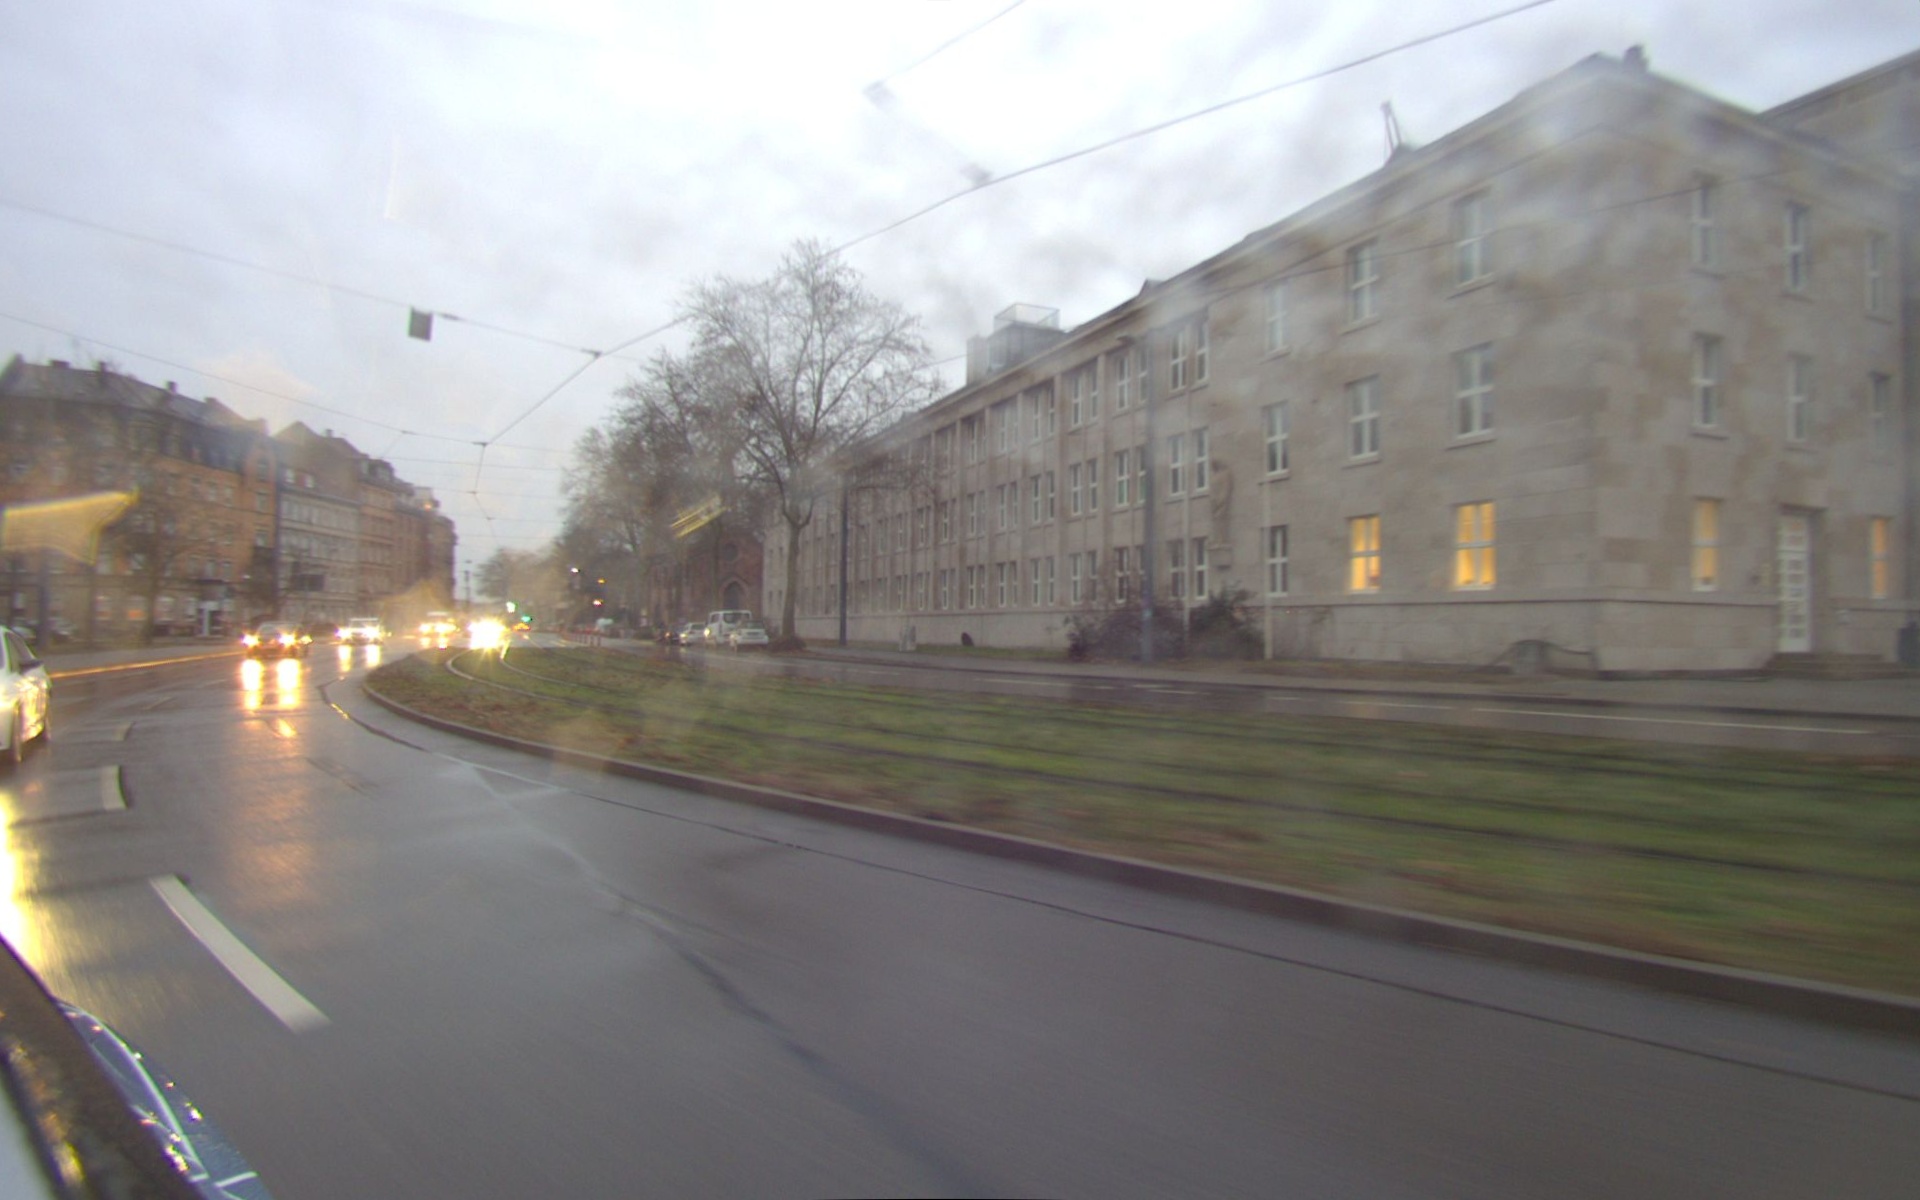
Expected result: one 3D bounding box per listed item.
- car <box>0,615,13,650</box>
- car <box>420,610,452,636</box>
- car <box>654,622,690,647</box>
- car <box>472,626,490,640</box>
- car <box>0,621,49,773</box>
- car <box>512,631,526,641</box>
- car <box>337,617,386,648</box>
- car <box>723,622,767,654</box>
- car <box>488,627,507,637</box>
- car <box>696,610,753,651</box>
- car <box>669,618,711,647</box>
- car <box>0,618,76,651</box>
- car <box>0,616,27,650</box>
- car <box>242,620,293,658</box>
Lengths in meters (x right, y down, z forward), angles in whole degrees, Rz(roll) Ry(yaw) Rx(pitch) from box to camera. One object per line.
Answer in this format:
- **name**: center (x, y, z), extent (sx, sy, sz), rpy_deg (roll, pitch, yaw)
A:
- **car**: center (-37.494, 1.190, 37.147), extent (1.598, 1.288, 3.721), rpy_deg (-1, -2, 35)
- **car**: center (-49.648, 2.140, 95.958), extent (2.094, 2.398, 5.656), rpy_deg (-1, 0, -21)
- **car**: center (-19.604, 2.335, 68.866), extent (1.588, 1.673, 3.622), rpy_deg (1, -2, -29)
- **car**: center (-61.266, 4.161, 129.450), extent (1.622, 1.763, 3.565), rpy_deg (1, -2, -17)
- **car**: center (-10.875, 0.970, 10.584), extent (1.688, 1.423, 3.687), rpy_deg (-1, 0, -38)
- **car**: center (-78.191, 6.362, 179.453), extent (1.920, 1.829, 4.012), rpy_deg (1, -2, -17)
- **car**: center (-34.877, 1.858, 59.062), extent (1.647, 1.672, 4.161), rpy_deg (-1, 0, -19)
- **car**: center (-10.530, 1.830, 49.501), extent (1.534, 1.439, 2.965), rpy_deg (1, -1, -24)
- **car**: center (-72.912, 5.052, 159.555), extent (1.866, 1.424, 3.957), rpy_deg (1, -2, -13)
- **car**: center (-12.525, 1.560, 53.598), extent (1.965, 2.029, 4.524), rpy_deg (-1, 0, -25)
- **car**: center (-16.798, 1.976, 62.887), extent (1.796, 1.667, 3.872), rpy_deg (-1, 0, -25)
- **car**: center (-40.508, 1.485, 43.445), extent (1.601, 1.364, 3.715), rpy_deg (-1, 0, 42)
- **car**: center (-39.718, 1.345, 40.254), extent (1.601, 1.364, 3.715), rpy_deg (-1, 0, 42)
- **car**: center (-27.388, 1.514, 40.030), extent (1.564, 1.437, 3.141), rpy_deg (2, -2, -35)
